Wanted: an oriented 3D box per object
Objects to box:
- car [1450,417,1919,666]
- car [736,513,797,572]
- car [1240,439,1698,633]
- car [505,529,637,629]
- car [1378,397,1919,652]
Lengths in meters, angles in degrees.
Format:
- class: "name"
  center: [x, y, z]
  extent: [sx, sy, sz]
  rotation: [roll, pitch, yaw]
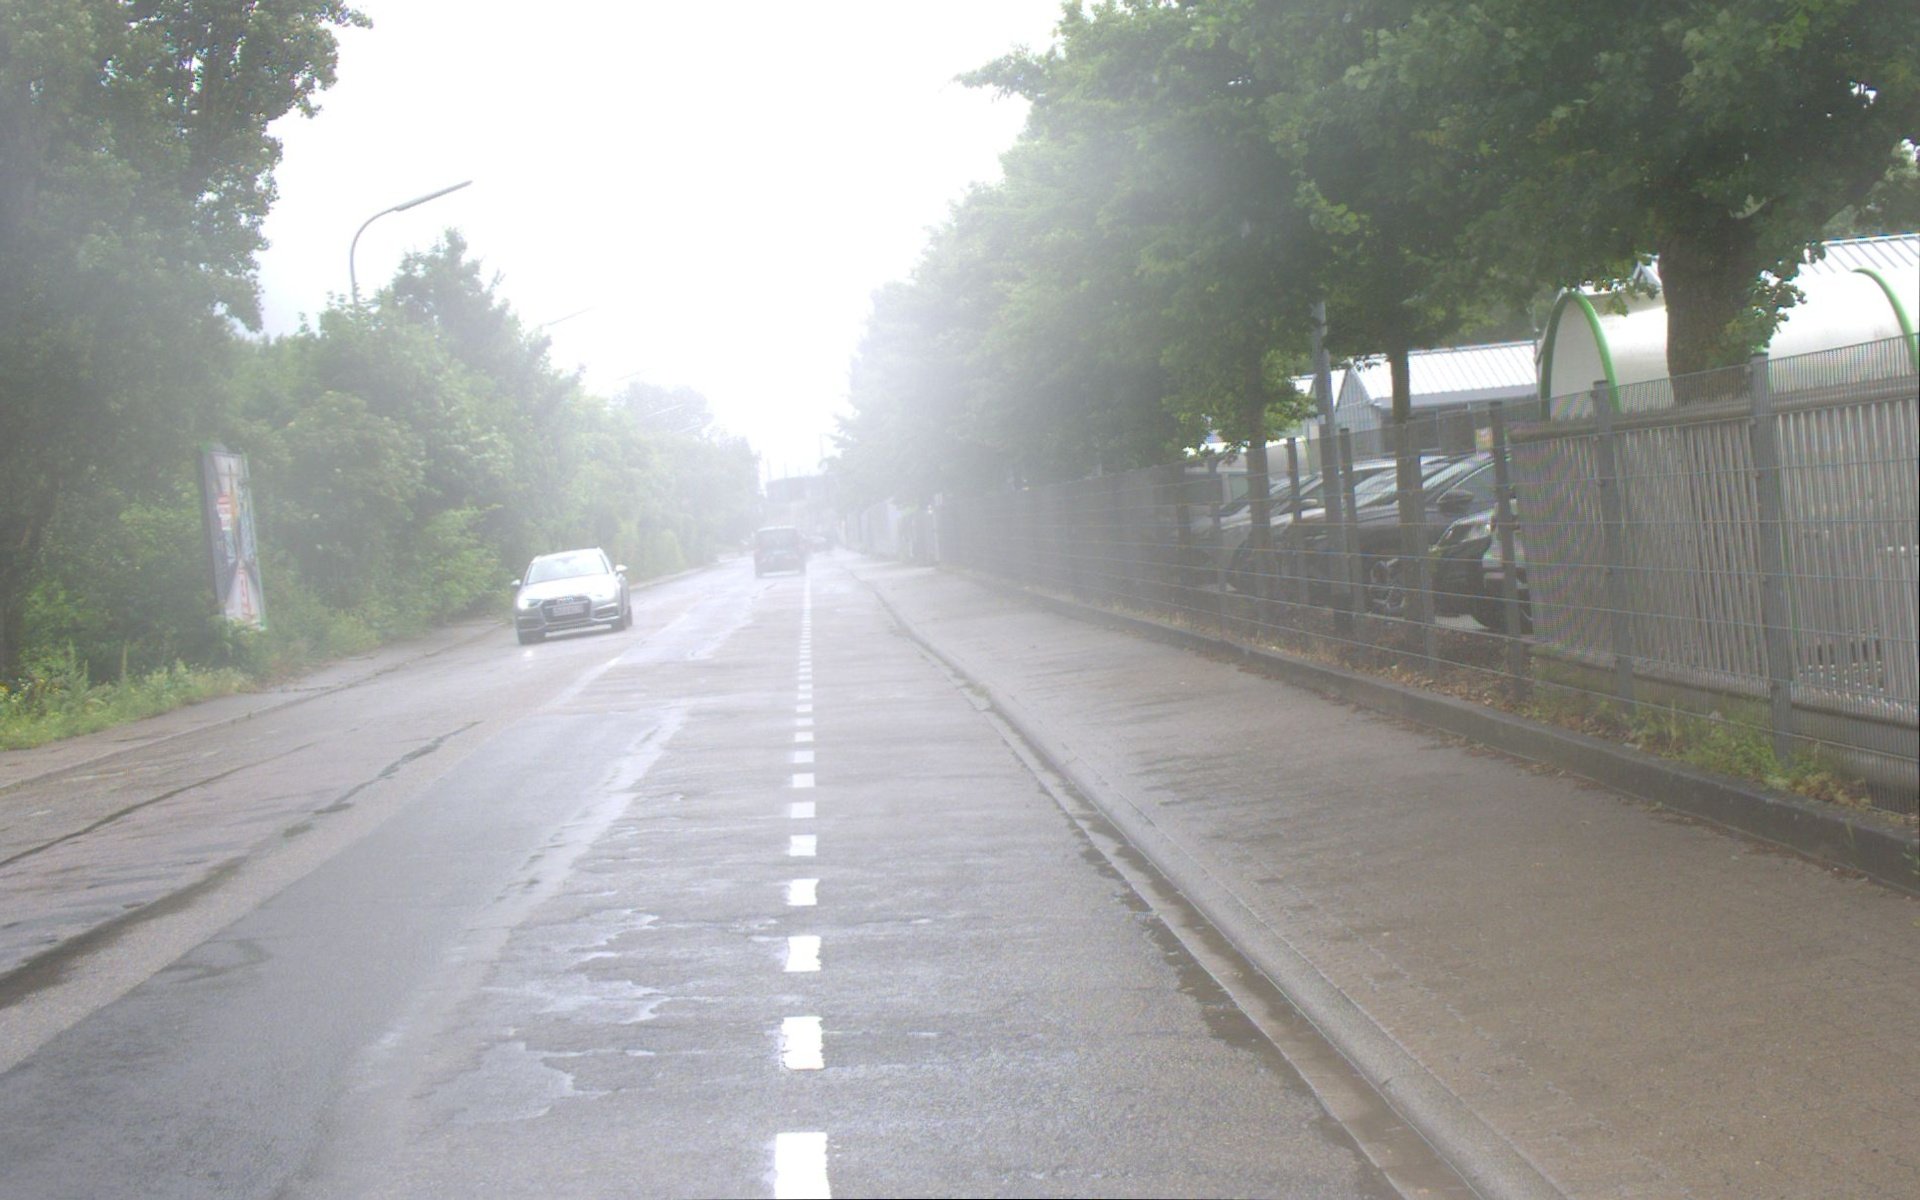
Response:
- class: "car"
  center: [6.129, -0.504, 26.711]
  extent: [4.208, 1.595, 1.824]
  rotation: [-5, 1, -3]
- class: "car"
  center: [-6.978, -2.054, 124.086]
  extent: [1.993, 1.904, 4.201]
  rotation: [-5, 0, -3]
- class: "car"
  center: [5.209, -0.663, 35.434]
  extent: [4.207, 1.613, 1.824]
  rotation: [-5, 1, -9]
- class: "car"
  center: [-6.667, -0.387, 59.266]
  extent: [1.733, 1.445, 4.381]
  rotation: [-7, 1, -1]
- class: "car"
  center: [5.956, -0.653, 29.600]
  extent: [4.207, 1.788, 1.824]
  rotation: [-5, 1, -9]
